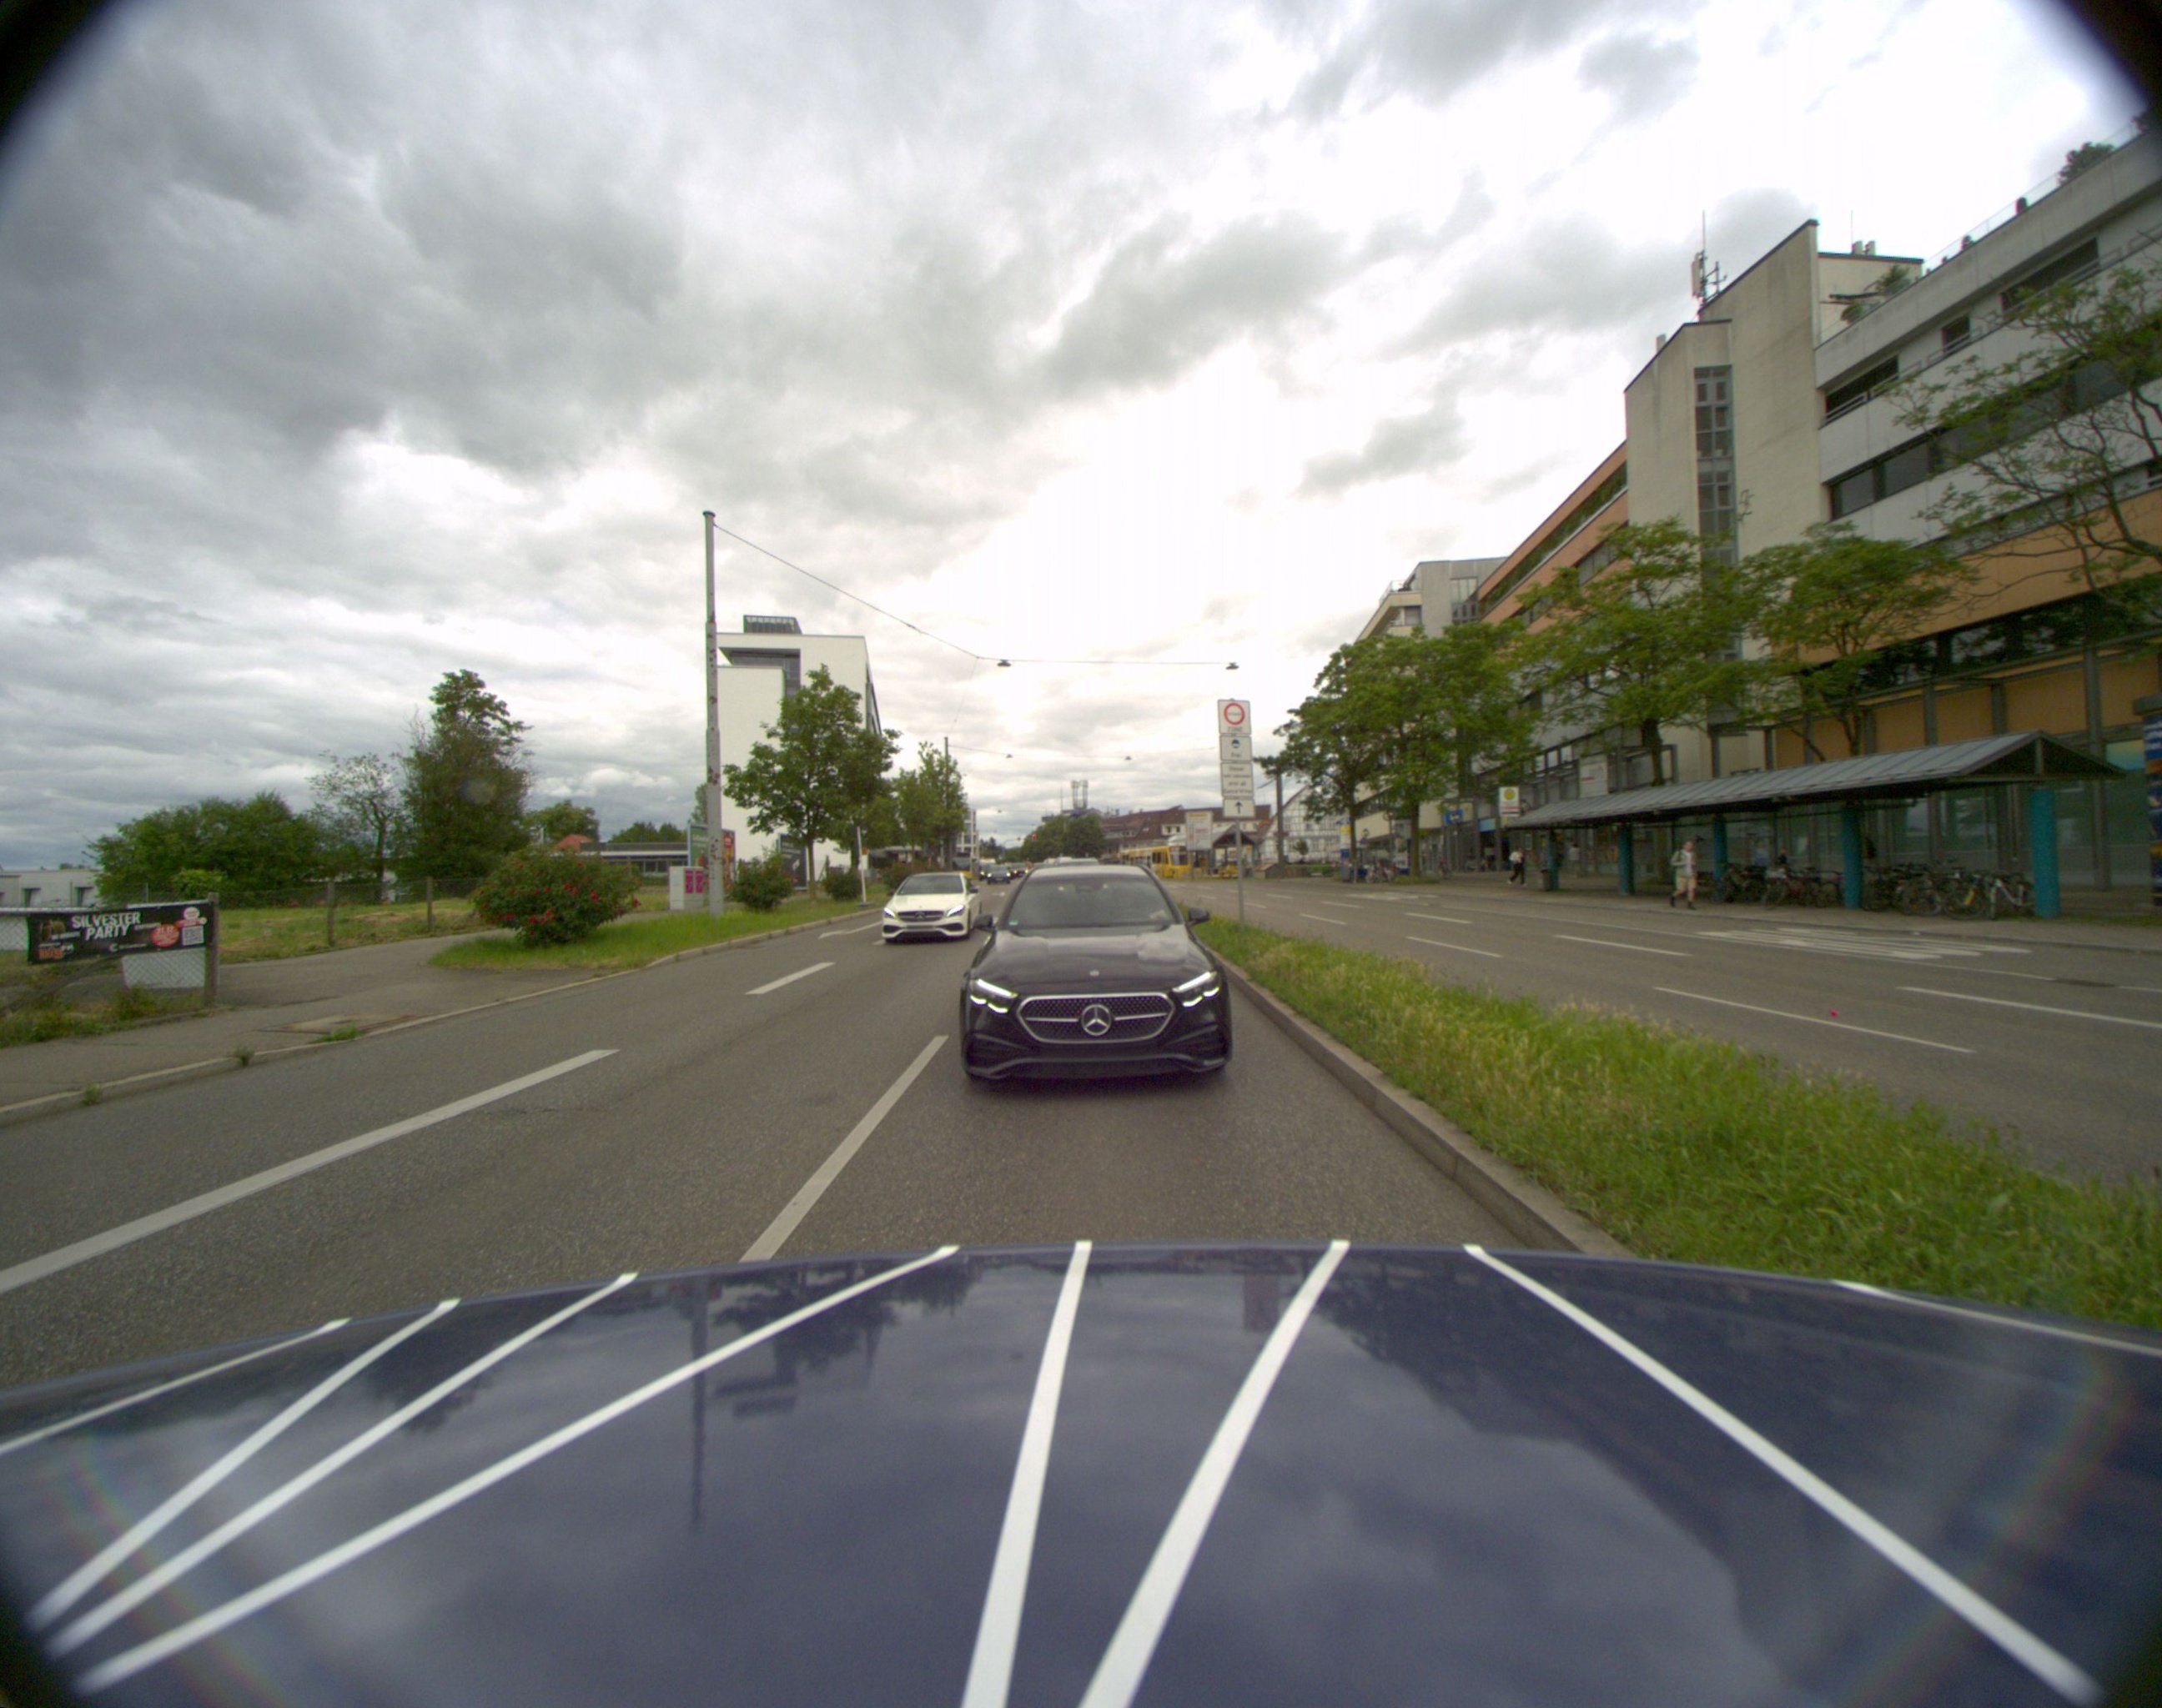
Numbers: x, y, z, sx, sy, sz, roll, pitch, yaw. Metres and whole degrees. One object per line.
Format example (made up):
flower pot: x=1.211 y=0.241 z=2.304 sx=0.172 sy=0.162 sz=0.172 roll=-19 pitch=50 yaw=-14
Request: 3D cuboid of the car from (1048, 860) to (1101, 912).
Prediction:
car: x=-0.200 y=1.095 z=27.635 sx=1.735 sy=1.680 sz=4.369 roll=-2 pitch=0 yaw=0

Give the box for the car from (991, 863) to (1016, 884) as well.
car: x=-6.050 y=1.489 z=59.662 sx=1.735 sy=1.474 sz=4.368 roll=-2 pitch=0 yaw=-3

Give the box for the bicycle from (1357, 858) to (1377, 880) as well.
bicycle: x=15.384 y=0.794 z=40.882 sx=0.603 sy=1.154 sz=1.969 roll=-1 pitch=-1 yaw=32

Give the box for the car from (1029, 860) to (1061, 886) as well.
car: x=-2.193 y=1.171 z=47.188 sx=1.735 sy=1.474 sz=4.369 roll=-2 pitch=0 yaw=0

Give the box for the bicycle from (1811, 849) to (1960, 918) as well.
bicycle: x=18.503 y=0.654 z=17.493 sx=2.908 sy=1.498 sz=0.805 roll=-1 pitch=0 yaw=-8

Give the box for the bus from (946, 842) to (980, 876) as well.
bus: x=-12.436 y=0.564 z=79.657 sx=2.993 sy=3.222 sz=9.856 roll=-1 pitch=-1 yaw=-12

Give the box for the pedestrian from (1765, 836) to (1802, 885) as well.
pedestrian: x=23.850 y=0.217 z=25.801 sx=0.634 sy=1.590 sz=0.622 roll=-3 pitch=0 yaw=-5

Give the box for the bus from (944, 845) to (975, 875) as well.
bus: x=-14.298 y=0.753 z=88.840 sx=3.047 sy=3.216 sz=9.329 roll=-1 pitch=-1 yaw=-12

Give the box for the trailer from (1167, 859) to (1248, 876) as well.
trailer: x=10.811 y=1.215 z=66.793 sx=2.851 sy=1.325 sz=12.115 roll=-1 pitch=-1 yaw=-12

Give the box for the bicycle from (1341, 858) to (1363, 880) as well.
bicycle: x=14.843 y=0.810 z=41.580 sx=0.603 sy=1.154 sz=1.969 roll=-4 pitch=-1 yaw=33

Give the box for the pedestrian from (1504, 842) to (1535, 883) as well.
pedestrian: x=18.634 y=0.364 z=32.288 sx=0.777 sy=1.703 sz=0.706 roll=-3 pitch=0 yaw=-5

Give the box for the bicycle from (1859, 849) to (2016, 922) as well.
bicycle: x=18.648 y=0.663 z=16.565 sx=2.908 sy=1.498 sz=0.778 roll=-1 pitch=0 yaw=-8

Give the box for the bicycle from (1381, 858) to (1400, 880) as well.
bicycle: x=16.210 y=0.783 z=39.790 sx=0.603 sy=1.154 sz=1.693 roll=-1 pitch=-1 yaw=31

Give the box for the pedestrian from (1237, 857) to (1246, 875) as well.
pedestrian: x=14.053 y=1.029 z=66.557 sx=0.601 sy=1.564 sz=0.620 roll=-1 pitch=0 yaw=-10

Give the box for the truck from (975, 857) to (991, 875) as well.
truck: x=-21.238 y=2.651 z=164.996 sx=2.948 sy=3.933 sz=9.158 roll=1 pitch=-2 yaw=-10

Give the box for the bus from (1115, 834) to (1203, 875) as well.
bus: x=7.973 y=0.240 z=82.530 sx=3.891 sy=3.836 sz=19.324 roll=-1 pitch=-1 yaw=-12

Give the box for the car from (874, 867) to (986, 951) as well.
car: x=-3.271 y=1.127 z=17.410 sx=1.873 sy=1.496 sz=4.771 roll=-2 pitch=0 yaw=-4

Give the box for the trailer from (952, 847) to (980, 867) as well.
trailer: x=-27.425 y=0.756 z=180.735 sx=3.116 sy=4.243 sz=14.823 roll=-1 pitch=-2 yaw=-23

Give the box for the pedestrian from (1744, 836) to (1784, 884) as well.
pedestrian: x=23.137 y=0.200 z=25.746 sx=0.668 sy=1.574 sz=0.706 roll=-3 pitch=0 yaw=-5

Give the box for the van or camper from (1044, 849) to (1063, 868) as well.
van or camper: x=-3.963 y=0.723 z=108.568 sx=2.000 sy=2.582 sz=6.111 roll=1 pitch=-1 yaw=-9

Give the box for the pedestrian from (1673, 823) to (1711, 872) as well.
pedestrian: x=21.949 y=-0.239 z=27.297 sx=0.774 sy=1.706 sz=0.787 roll=-3 pitch=0 yaw=18

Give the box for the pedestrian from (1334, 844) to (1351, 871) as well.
pedestrian: x=17.905 y=0.251 z=52.047 sx=0.747 sy=1.866 sz=0.873 roll=-1 pitch=0 yaw=-8

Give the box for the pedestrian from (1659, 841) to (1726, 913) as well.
pedestrian: x=16.133 y=0.578 z=20.071 sx=0.705 sy=1.812 sz=1.213 roll=-3 pitch=1 yaw=-3

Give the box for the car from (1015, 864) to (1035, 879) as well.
car: x=-5.884 y=1.822 z=80.075 sx=1.735 sy=1.544 sz=4.369 roll=-2 pitch=0 yaw=0

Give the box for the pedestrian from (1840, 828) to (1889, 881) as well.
pedestrian: x=26.077 y=0.025 z=25.304 sx=0.772 sy=1.706 sz=0.789 roll=-3 pitch=0 yaw=-11

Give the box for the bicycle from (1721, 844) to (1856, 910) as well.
bicycle: x=18.380 y=0.592 z=19.757 sx=2.908 sy=1.498 sz=0.891 roll=-4 pitch=0 yaw=-8

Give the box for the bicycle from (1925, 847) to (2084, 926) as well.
bicycle: x=18.728 y=0.639 z=15.421 sx=2.908 sy=1.498 sz=0.598 roll=-1 pitch=0 yaw=-8

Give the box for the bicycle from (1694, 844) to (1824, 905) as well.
bicycle: x=18.670 y=0.551 z=20.957 sx=2.908 sy=1.498 sz=0.972 roll=-3 pitch=0 yaw=-8

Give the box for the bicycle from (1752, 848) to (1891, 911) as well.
bicycle: x=18.500 y=0.622 z=18.998 sx=2.908 sy=1.498 sz=0.811 roll=-1 pitch=0 yaw=-6

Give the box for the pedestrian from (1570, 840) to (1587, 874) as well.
pedestrian: x=24.090 y=0.133 z=36.803 sx=0.633 sy=1.590 sz=0.624 roll=-3 pitch=0 yaw=31

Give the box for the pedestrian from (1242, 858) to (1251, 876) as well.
pedestrian: x=14.644 y=1.161 z=67.133 sx=0.601 sy=1.564 sz=0.620 roll=-1 pitch=0 yaw=-10

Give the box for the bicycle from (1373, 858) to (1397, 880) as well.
bicycle: x=16.495 y=0.816 z=41.229 sx=0.604 sy=1.154 sz=1.966 roll=-1 pitch=-1 yaw=4

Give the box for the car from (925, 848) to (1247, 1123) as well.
car: x=-0.028 y=0.842 z=7.046 sx=1.873 sy=1.542 sz=4.773 roll=-4 pitch=-1 yaw=-2

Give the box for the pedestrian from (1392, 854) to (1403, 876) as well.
pedestrian: x=24.207 y=0.820 z=58.094 sx=0.551 sy=1.690 sz=0.628 roll=-1 pitch=0 yaw=-9

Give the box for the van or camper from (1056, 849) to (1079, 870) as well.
van or camper: x=-1.847 y=0.709 z=98.599 sx=2.039 sy=2.582 sz=6.111 roll=1 pitch=-1 yaw=-10

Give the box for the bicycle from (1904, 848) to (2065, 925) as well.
bicycle: x=18.696 y=0.655 z=15.735 sx=2.908 sy=1.498 sz=0.700 roll=-1 pitch=0 yaw=-8

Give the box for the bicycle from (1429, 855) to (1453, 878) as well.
bicycle: x=19.202 y=0.665 z=40.540 sx=0.672 sy=1.154 sz=2.023 roll=-1 pitch=-1 yaw=39
